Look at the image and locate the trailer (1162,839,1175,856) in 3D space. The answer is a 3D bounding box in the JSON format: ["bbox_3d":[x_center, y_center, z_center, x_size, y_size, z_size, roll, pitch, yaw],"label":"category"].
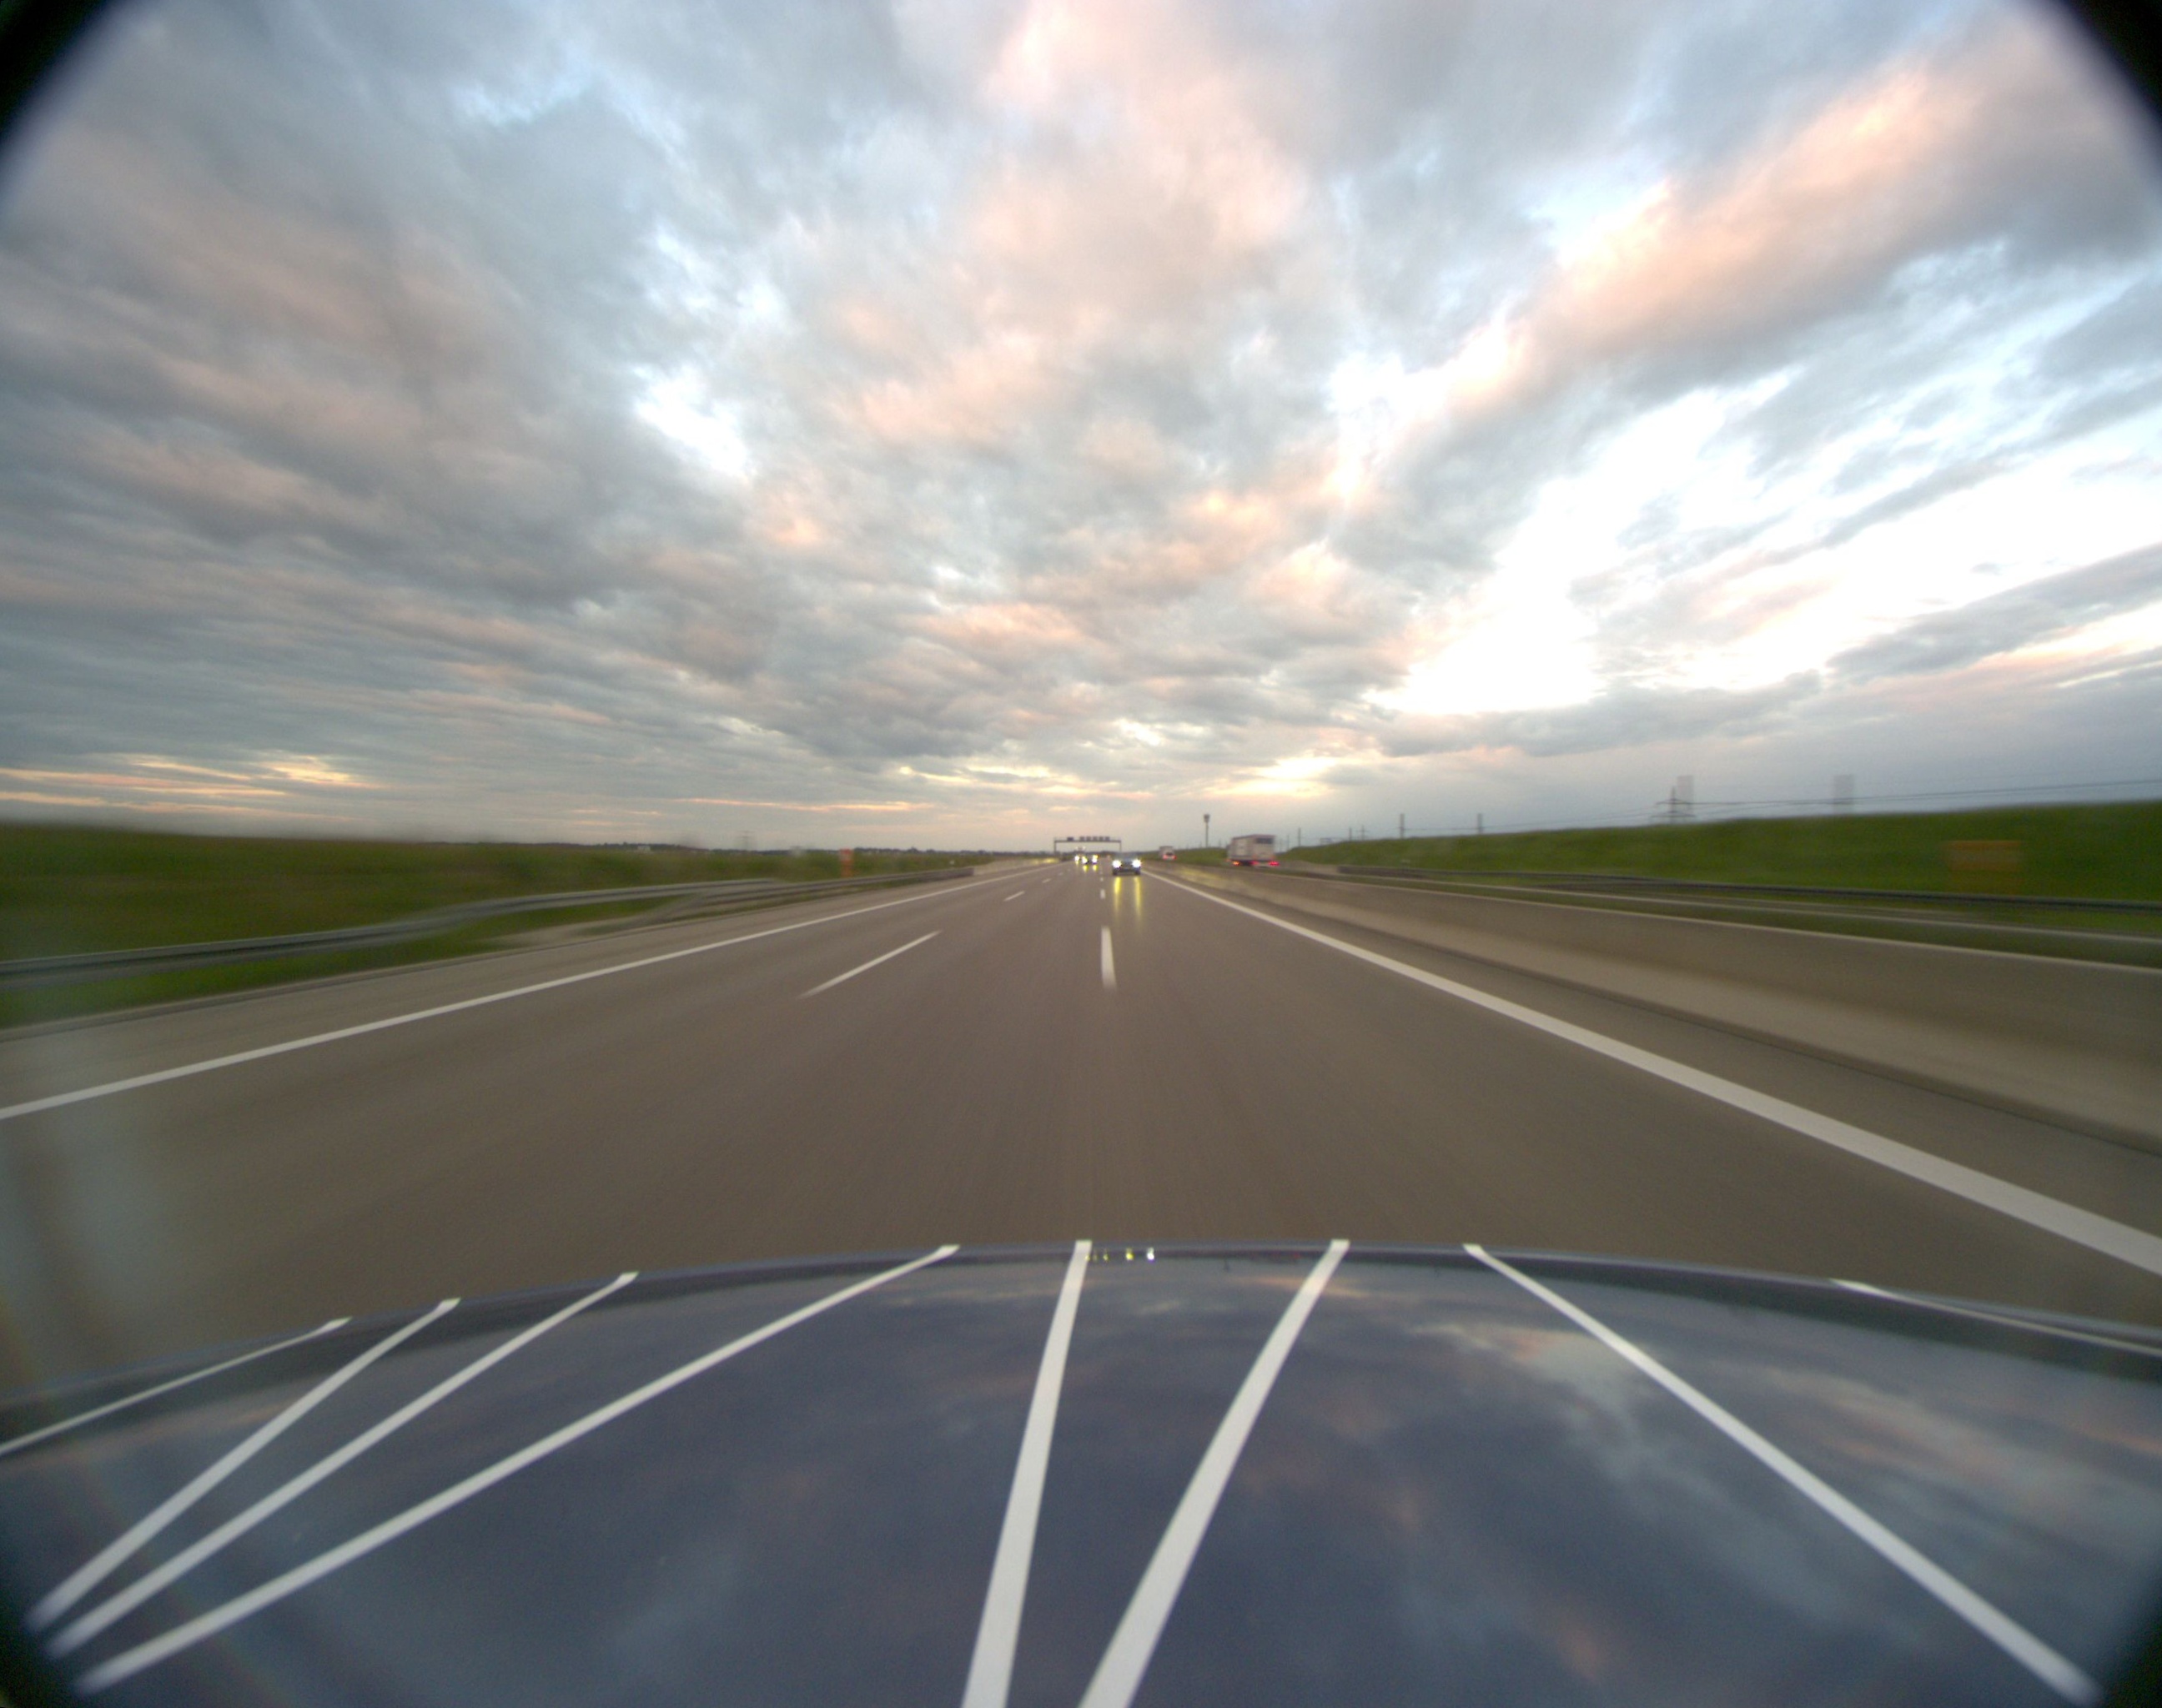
[{"bbox_3d":[24.121,-1.788,210.387,2.824,4.327,12.841,-2,0,3],"label":"trailer"}]

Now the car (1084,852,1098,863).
[{"bbox_3d":[1.582,0.532,121.284,1.998,1.652,4.851,-2,0,2],"label":"car"}]

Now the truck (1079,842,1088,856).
[{"bbox_3d":[0.721,-1.457,228.899,2.597,3.999,5.859,-1,0,-1],"label":"truck"}]

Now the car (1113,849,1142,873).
[{"bbox_3d":[3.473,0.481,56.897,1.998,1.652,4.000,-2,0,2],"label":"car"}]

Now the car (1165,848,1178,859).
[{"bbox_3d":[18.966,-0.179,160.121,2.133,2.331,6.492,0,0,2],"label":"car"}]

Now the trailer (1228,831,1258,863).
[{"bbox_3d":[21.455,-0.942,101.015,2.693,4.091,6.939,1,1,2],"label":"trailer"}]

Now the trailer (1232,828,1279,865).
[{"bbox_3d":[21.166,-0.887,93.360,2.693,4.091,15.109,1,1,2],"label":"trailer"}]
